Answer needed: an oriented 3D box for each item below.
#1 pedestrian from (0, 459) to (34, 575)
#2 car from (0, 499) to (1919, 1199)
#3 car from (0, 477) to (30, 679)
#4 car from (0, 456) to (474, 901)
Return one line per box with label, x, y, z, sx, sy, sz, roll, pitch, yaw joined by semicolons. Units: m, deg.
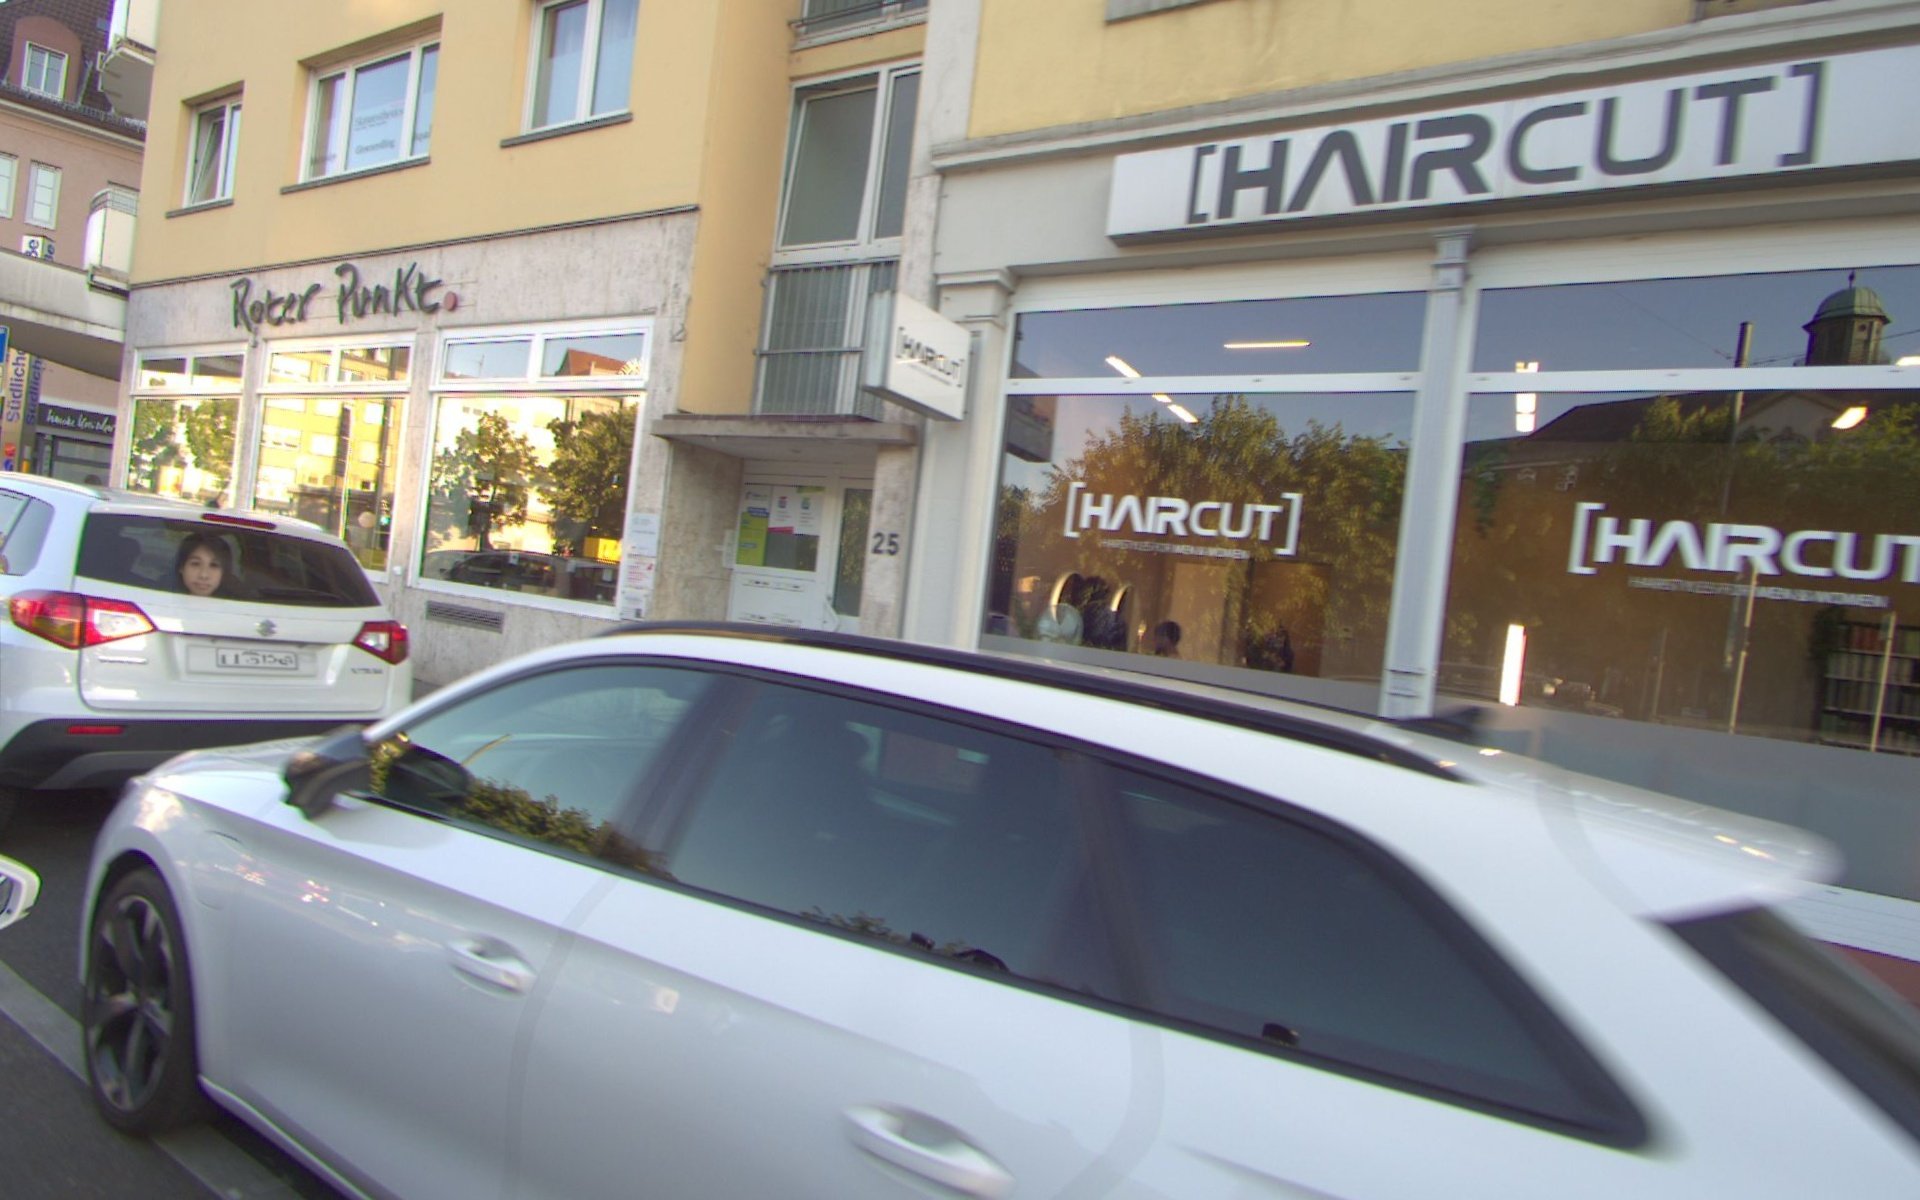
pedestrian;-15.819;-1.385;16.199;0.856;1.839;0.825;7;0;-6
car;-0.414;0.742;2.454;4.534;1.474;1.736;7;-1;32
car;-10.149;-0.469;8.656;4.602;1.636;1.701;7;-1;29
car;-4.820;0.170;5.510;4.133;1.640;1.820;7;-1;32
